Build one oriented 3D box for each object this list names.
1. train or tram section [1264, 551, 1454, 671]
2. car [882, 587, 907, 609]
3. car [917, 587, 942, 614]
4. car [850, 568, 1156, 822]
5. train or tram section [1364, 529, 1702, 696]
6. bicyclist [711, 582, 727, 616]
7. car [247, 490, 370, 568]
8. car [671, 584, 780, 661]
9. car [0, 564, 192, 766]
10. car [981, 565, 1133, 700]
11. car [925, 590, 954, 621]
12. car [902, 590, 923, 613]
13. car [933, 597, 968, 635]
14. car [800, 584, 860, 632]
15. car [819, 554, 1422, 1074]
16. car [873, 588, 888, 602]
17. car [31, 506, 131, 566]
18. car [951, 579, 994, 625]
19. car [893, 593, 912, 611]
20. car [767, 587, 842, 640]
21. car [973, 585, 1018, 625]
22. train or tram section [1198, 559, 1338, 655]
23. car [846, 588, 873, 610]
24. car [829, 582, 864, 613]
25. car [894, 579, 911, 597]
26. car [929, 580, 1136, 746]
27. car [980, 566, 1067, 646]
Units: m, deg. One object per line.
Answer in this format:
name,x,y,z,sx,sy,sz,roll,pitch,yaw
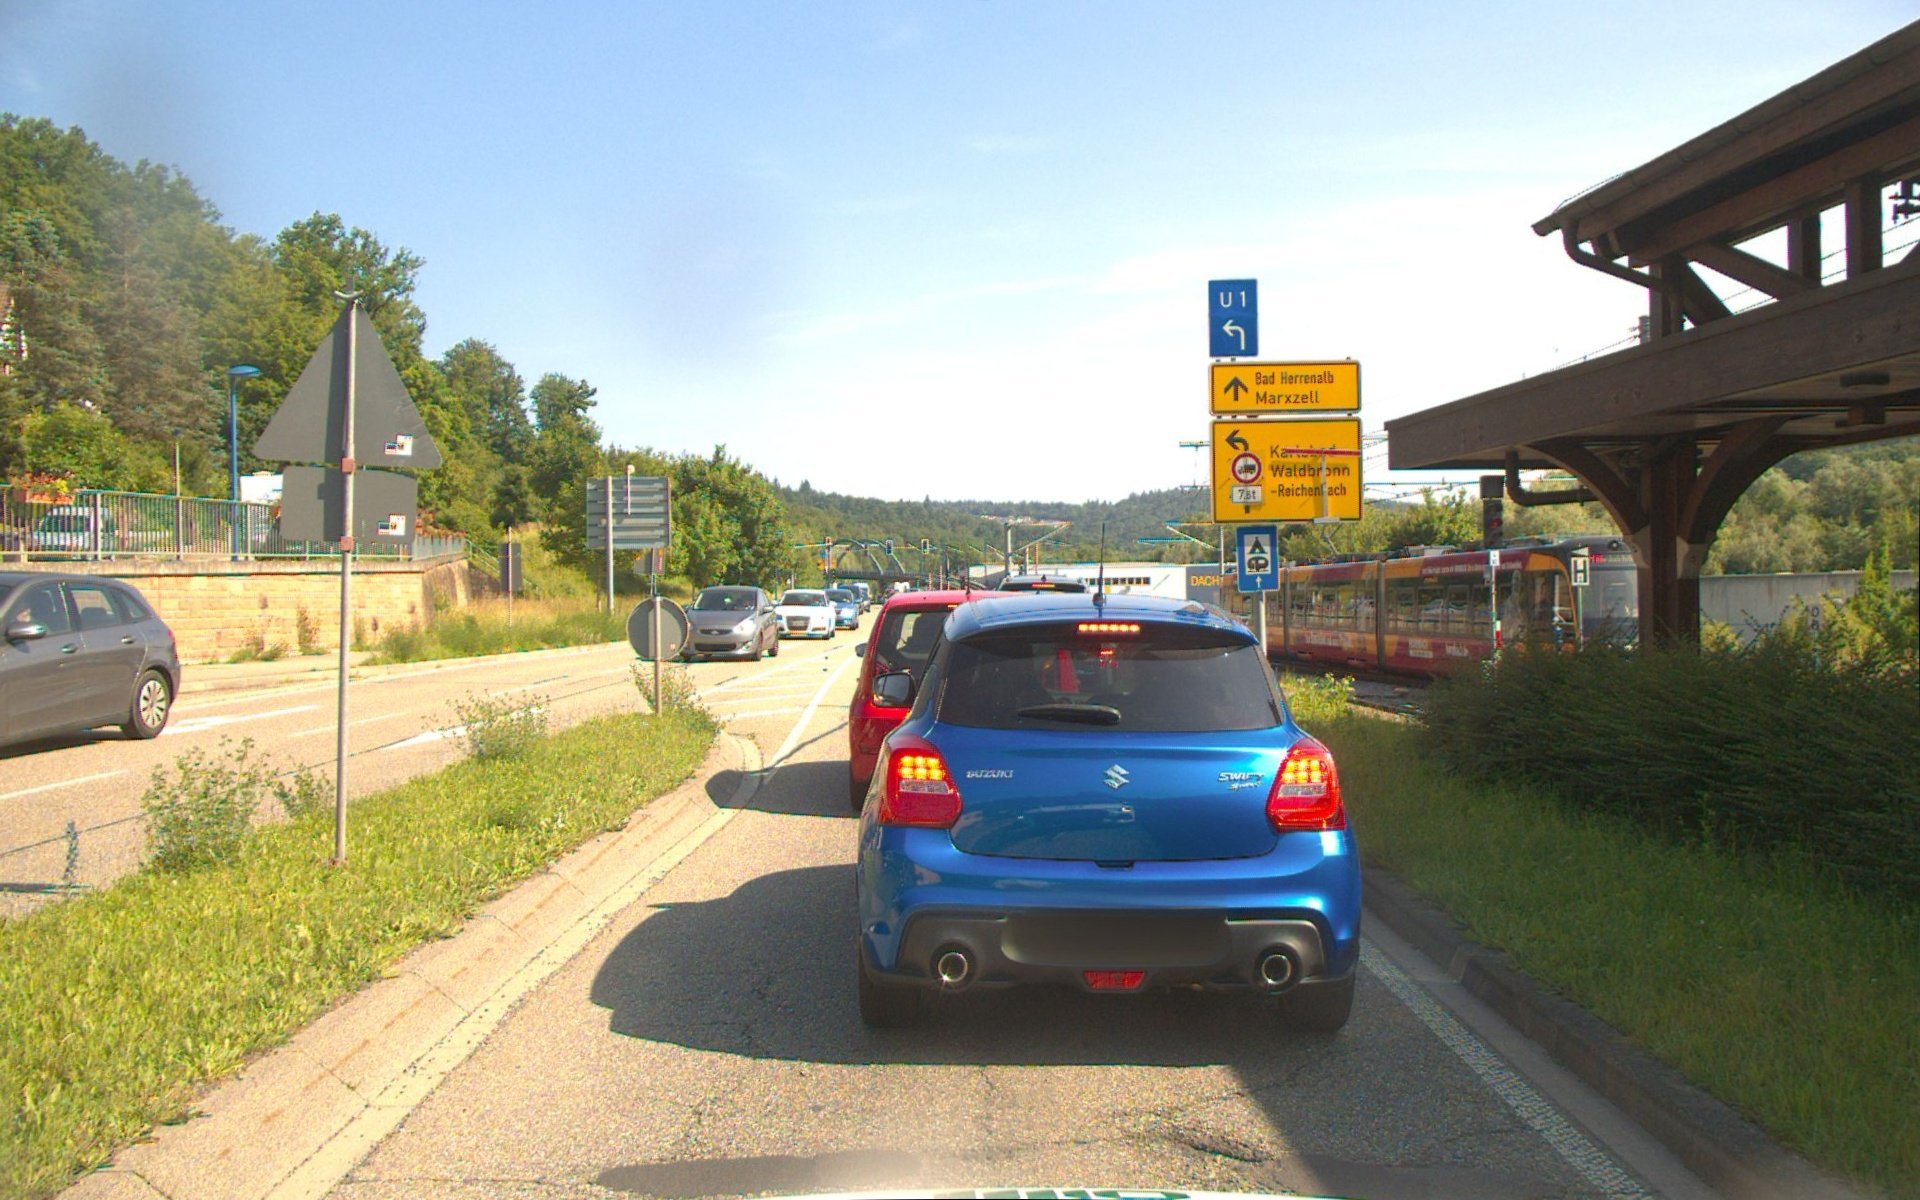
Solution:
train or tram section,12.742,0.328,54.276,2.731,3.423,12.041,2,0,-3
car,-5.537,-0.170,140.090,1.953,1.814,3.999,1,0,-1
car,-2.530,0.005,137.738,1.953,2.048,4.000,2,1,-1
car,0.304,0.610,12.706,1.952,1.598,4.000,1,0,1
train or tram section,13.580,0.211,41.294,2.799,3.423,14.346,1,0,-3
bicyclist,-11.048,-0.030,75.859,0.617,1.533,0.505,2,1,-4
car,-17.738,-1.908,45.294,1.982,1.953,4.724,2,1,-7
car,-4.747,0.434,33.959,1.637,1.466,3.840,1,0,1
car,-8.520,0.499,13.908,1.952,1.591,4.510,0,1,1
car,1.304,0.403,24.074,1.952,1.716,4.497,2,1,1
car,-1.474,0.384,117.678,1.953,2.048,4.000,2,1,-1
car,-4.685,0.138,162.592,1.953,2.048,4.000,2,1,-1
car,-0.572,0.942,97.532,1.953,2.048,4.000,2,1,-1
car,-4.703,0.256,60.234,1.795,1.493,3.812,2,3,1
car,0.443,0.638,7.038,1.830,1.575,3.999,1,0,-2
car,-11.633,-0.728,241.961,1.953,1.770,4.000,2,1,-1
car,-26.156,-1.866,49.336,1.864,1.658,3.982,0,1,-16
car,0.594,0.064,80.804,1.953,2.048,4.000,2,1,-1
car,-6.367,0.200,184.266,1.953,1.848,4.000,2,1,-1
car,-4.538,0.362,48.770,1.795,1.393,3.950,1,1,1
car,1.471,0.180,68.628,1.794,1.519,3.812,2,1,1
train or tram section,12.074,0.167,66.220,2.701,3.422,12.042,2,1,-3
car,-7.130,-0.076,117.561,1.795,1.456,3.810,2,1,-2
car,-6.932,-0.151,101.637,1.795,1.743,3.811,2,1,1
car,-7.122,-1.435,204.096,1.953,2.181,4.719,1,0,-1
car,0.718,0.572,17.980,1.952,1.558,4.602,0,1,1
car,1.491,0.114,39.969,1.952,1.766,4.000,2,1,1
